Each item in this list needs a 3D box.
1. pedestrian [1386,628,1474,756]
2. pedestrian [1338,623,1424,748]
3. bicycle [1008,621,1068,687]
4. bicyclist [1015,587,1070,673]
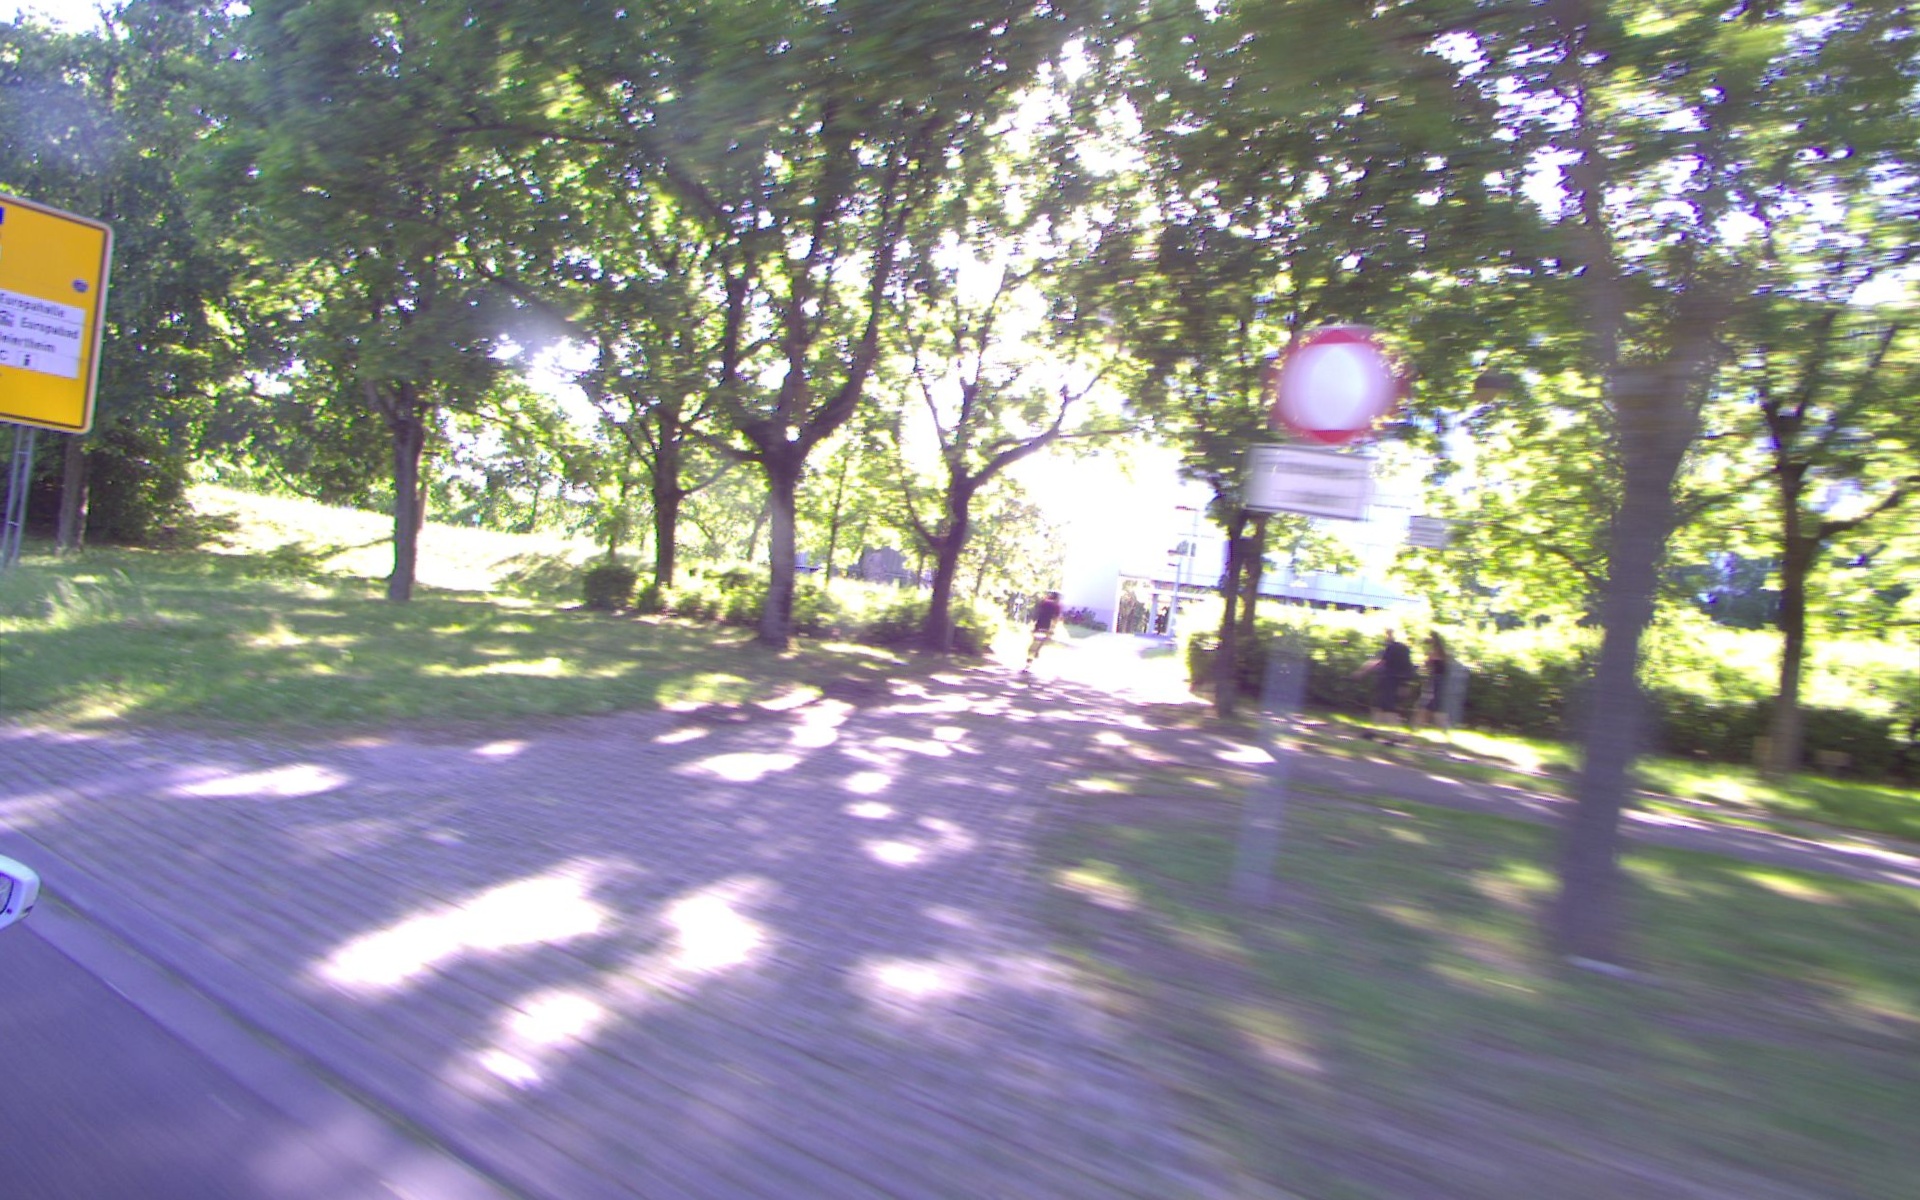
[{"bbox_3d":[6.770,1.316,14.505,0.832,1.713,0.635,7,1,41],"label":"pedestrian"},{"bbox_3d":[5.977,1.202,14.280,0.832,1.642,0.546,7,1,41],"label":"pedestrian"},{"bbox_3d":[1.463,0.962,18.482,0.782,1.060,2.143,7,0,10],"label":"bicycle"},{"bbox_3d":[1.523,0.553,18.538,0.777,1.468,0.845,7,1,10],"label":"bicyclist"}]
